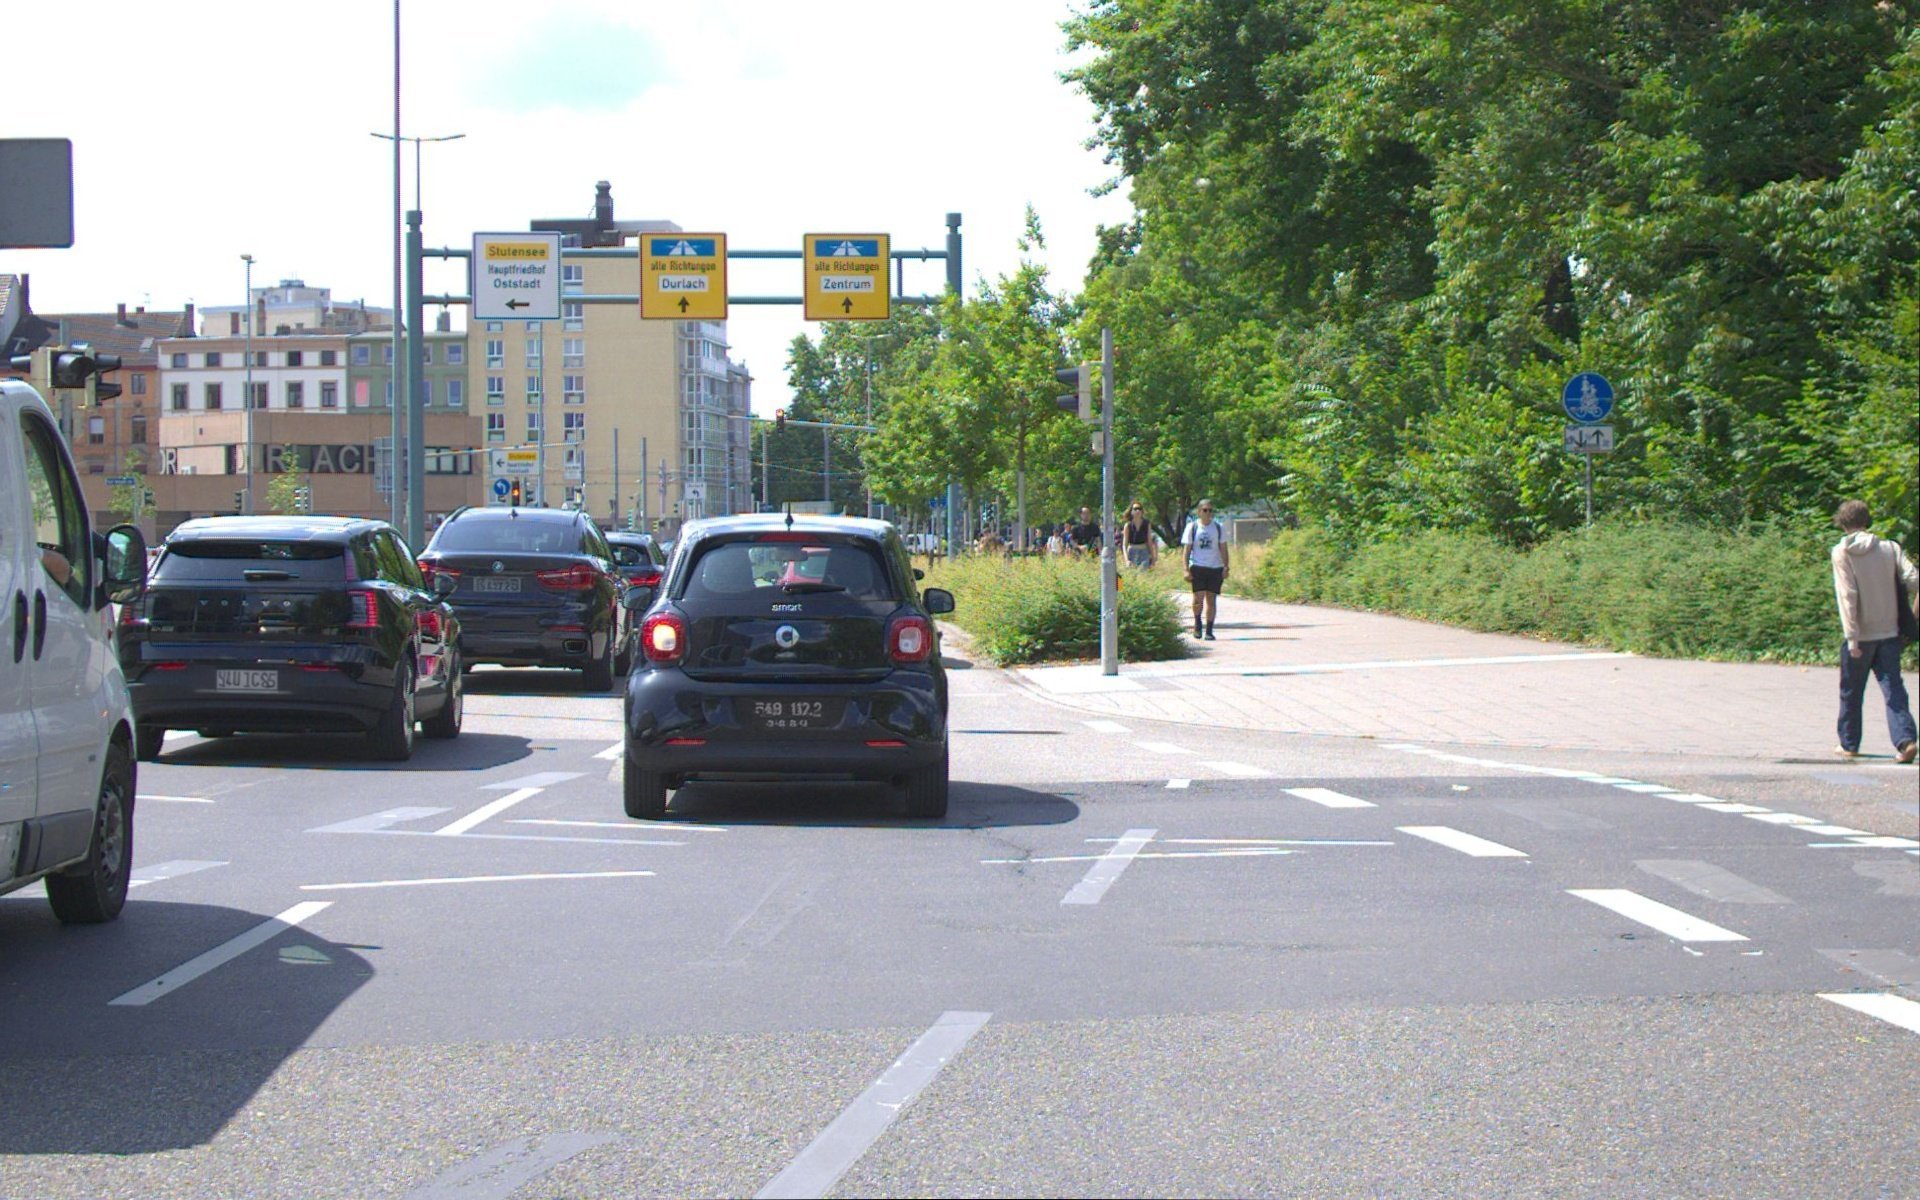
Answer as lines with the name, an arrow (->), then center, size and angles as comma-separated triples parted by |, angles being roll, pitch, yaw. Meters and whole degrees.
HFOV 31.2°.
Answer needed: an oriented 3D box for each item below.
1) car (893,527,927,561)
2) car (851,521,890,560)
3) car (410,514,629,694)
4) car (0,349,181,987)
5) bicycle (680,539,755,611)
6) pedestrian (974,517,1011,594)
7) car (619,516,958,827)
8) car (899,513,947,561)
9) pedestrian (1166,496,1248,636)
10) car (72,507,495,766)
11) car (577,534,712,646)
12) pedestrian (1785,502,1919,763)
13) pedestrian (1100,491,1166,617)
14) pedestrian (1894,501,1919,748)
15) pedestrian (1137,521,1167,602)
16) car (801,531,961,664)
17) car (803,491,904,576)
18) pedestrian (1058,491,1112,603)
car -> -2.982, -3.305, 204.340 | 1.943, 1.956, 3.950 | 2, 1, -1
car -> -4.696, -3.114, 181.288 | 1.943, 1.956, 3.950 | 2, 1, -1
car -> -4.188, -0.005, 33.241 | 1.827, 1.595, 4.394 | 1, 1, -4
car -> -3.932, 0.193, 10.644 | 2.006, 1.948, 5.195 | 1, 1, -2
bicycle -> -7.086, -0.745, 100.261 | 1.993, 2.007, 4.001 | 2, 1, -6
pedestrian -> 0.825, -1.131, 87.822 | 0.838, 1.962, 0.861 | 0, 1, -6
car -> -0.955, 0.325, 18.371 | 1.611, 1.480, 3.518 | 1, 1, -4
car -> -1.582, -2.662, 146.466 | 1.943, 1.956, 3.950 | 2, 1, -1
pedestrian -> 3.043, -0.418, 42.484 | 0.851, 1.695, 0.931 | -1, 1, -4
car -> -4.390, 0.173, 23.078 | 2.017, 1.525, 4.887 | 1, 1, -2
car -> -3.931, -0.151, 43.132 | 1.611, 1.320, 3.518 | 0, 1, -4
pedestrian -> 6.070, 0.198, 23.147 | 0.795, 1.698, 1.182 | 1, 2, 4
pedestrian -> 2.580, -0.693, 51.382 | 0.838, 1.861, 1.019 | 0, 1, -6
pedestrian -> 7.027, 0.165, 23.899 | 0.795, 1.698, 1.182 | 1, 2, 4
pedestrian -> 4.466, -0.895, 79.935 | 0.501, 1.884, 0.561 | 2, 0, -14
car -> -0.941, -0.046, 39.305 | 1.611, 1.406, 3.518 | 2, 0, -4
car -> -1.915, -1.188, 61.071 | 1.611, 1.406, 3.518 | 2, 1, -4
pedestrian -> 2.206, -0.943, 60.620 | 0.838, 1.962, 0.861 | 0, 1, -6
